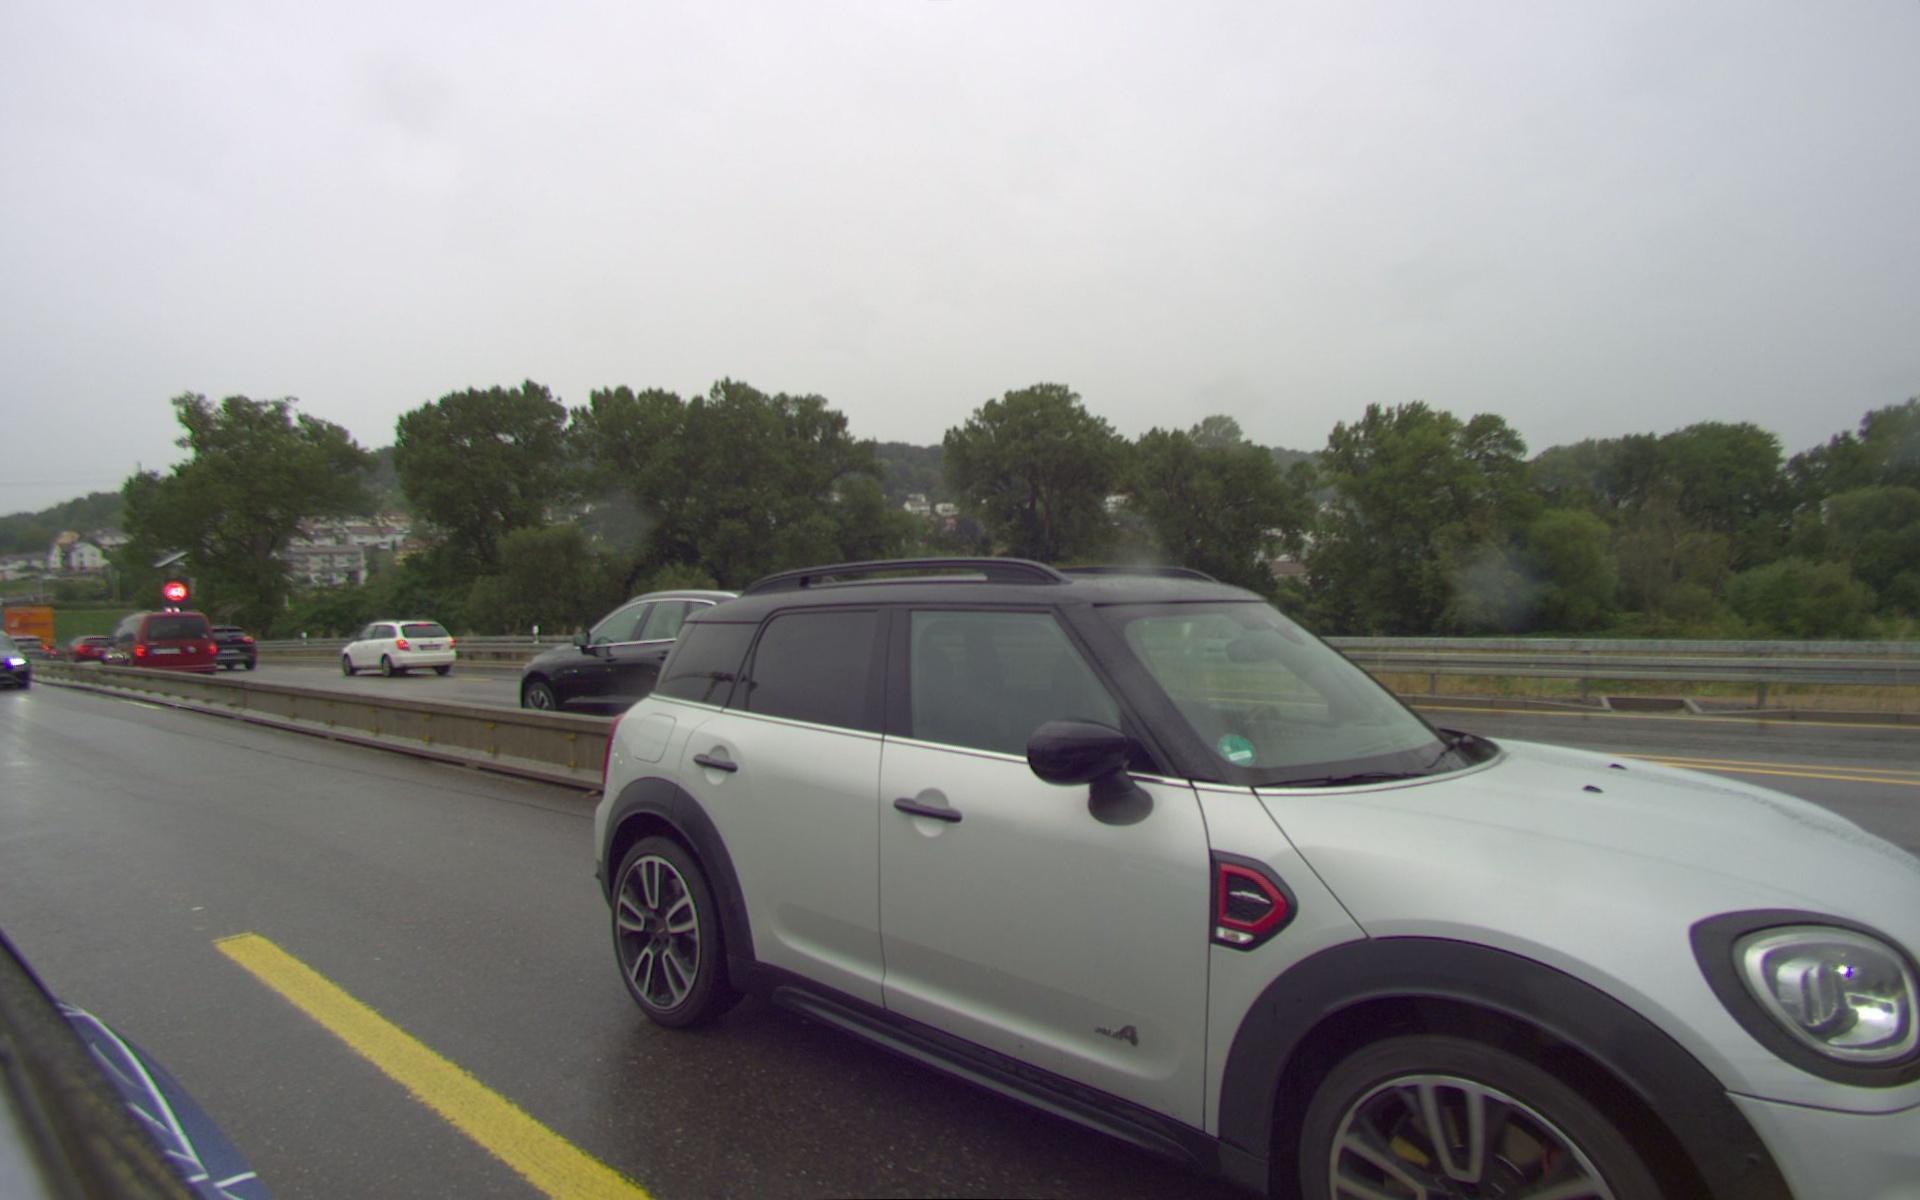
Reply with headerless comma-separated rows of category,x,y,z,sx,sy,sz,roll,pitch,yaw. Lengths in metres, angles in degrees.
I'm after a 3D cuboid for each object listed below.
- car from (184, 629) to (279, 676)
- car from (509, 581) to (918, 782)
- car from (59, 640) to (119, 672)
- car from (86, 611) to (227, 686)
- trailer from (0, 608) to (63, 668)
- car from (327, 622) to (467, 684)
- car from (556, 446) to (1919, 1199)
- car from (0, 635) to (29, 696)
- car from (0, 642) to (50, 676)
car,-25.586,1.859,35.503,3.997,1.508,1.802,-4,-2,40
car,-2.736,0.748,10.643,4.467,1.668,1.973,-2,-2,41
car,-45.979,2.939,53.391,4.304,1.522,1.799,-2,-1,41
car,-20.740,1.265,26.057,4.839,1.762,1.827,-3,-4,39
trailer,-67.852,2.791,72.837,13.692,3.938,3.243,-3,-2,41
car,-15.739,1.491,28.239,4.263,1.589,1.828,-3,-4,37
car,0.651,0.645,3.162,4.306,1.612,1.797,-3,-1,41
car,-25.116,1.651,25.550,4.481,1.449,1.926,-2,-1,41
car,-42.723,2.675,45.742,4.409,1.460,1.887,-3,-4,42
